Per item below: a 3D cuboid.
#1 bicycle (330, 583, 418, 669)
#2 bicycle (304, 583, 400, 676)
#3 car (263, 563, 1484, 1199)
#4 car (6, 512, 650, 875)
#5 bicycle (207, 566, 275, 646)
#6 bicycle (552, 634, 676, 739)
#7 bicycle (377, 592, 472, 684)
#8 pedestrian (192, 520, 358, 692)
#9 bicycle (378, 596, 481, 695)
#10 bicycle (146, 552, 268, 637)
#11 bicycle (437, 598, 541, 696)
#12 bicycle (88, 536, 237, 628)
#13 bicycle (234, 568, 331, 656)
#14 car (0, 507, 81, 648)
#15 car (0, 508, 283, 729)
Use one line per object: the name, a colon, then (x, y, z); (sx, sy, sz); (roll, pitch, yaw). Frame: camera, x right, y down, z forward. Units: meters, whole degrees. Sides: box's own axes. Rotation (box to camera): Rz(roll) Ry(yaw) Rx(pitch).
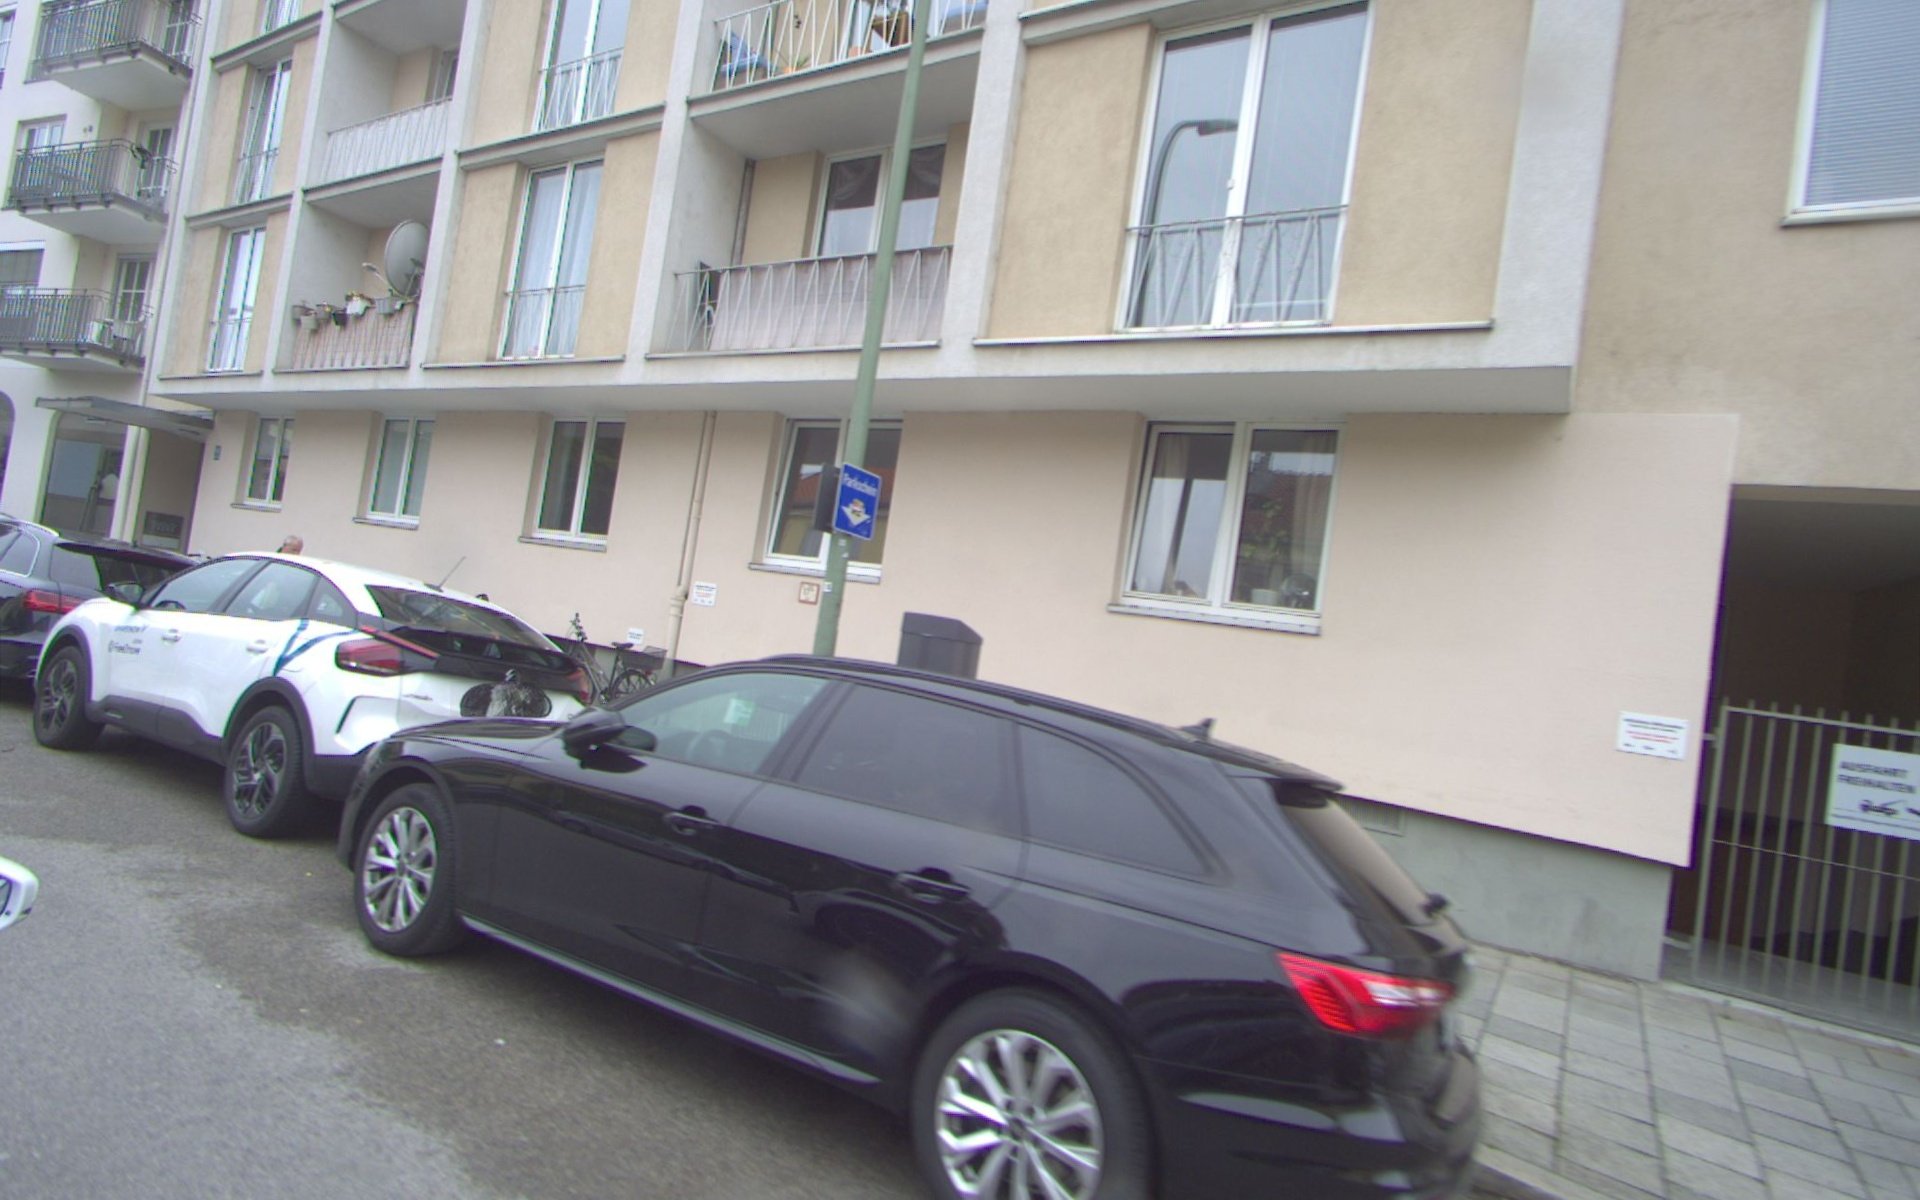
bicycle: (-8.295, 0.361, 14.229); (1.378, 1.036, 0.390); (7, 0, 32)
bicycle: (-7.948, 0.378, 13.134); (1.378, 1.036, 0.390); (7, 0, 32)
car: (-0.528, 0.937, 3.960); (4.407, 1.434, 1.803); (7, -6, 31)
car: (-4.288, 0.492, 6.684); (4.148, 1.514, 1.746); (7, -5, 31)
bicycle: (-10.582, 0.085, 14.787); (1.180, 1.036, 0.423); (7, 0, 39)
bicycle: (-3.850, 0.946, 11.161); (1.378, 0.947, 0.445); (7, 0, 32)
bicycle: (-7.142, 0.500, 13.395); (1.378, 1.036, 0.390); (7, 0, 32)
pedestrian: (-7.611, 0.067, 11.187); (1.297, 1.707, 0.900); (7, -1, 31)
bicycle: (-6.580, 0.558, 12.462); (1.378, 1.036, 0.390); (7, 0, 32)
bicycle: (-12.107, -0.077, 16.207); (1.384, 1.146, 0.534); (8, -1, -4)
bicycle: (-5.906, 0.579, 12.583); (1.378, 1.036, 0.390); (7, 0, 32)
bicycle: (-13.493, -0.308, 17.010); (2.170, 1.199, 1.149); (7, -2, 30)
bicycle: (-10.370, 0.179, 15.399); (1.384, 1.146, 0.534); (8, -1, 28)
car: (-12.888, -0.522, 12.209); (4.198, 1.555, 1.745); (7, -2, 27)
car: (-8.352, 0.012, 9.255); (4.422, 1.514, 1.744); (7, -4, 33)
